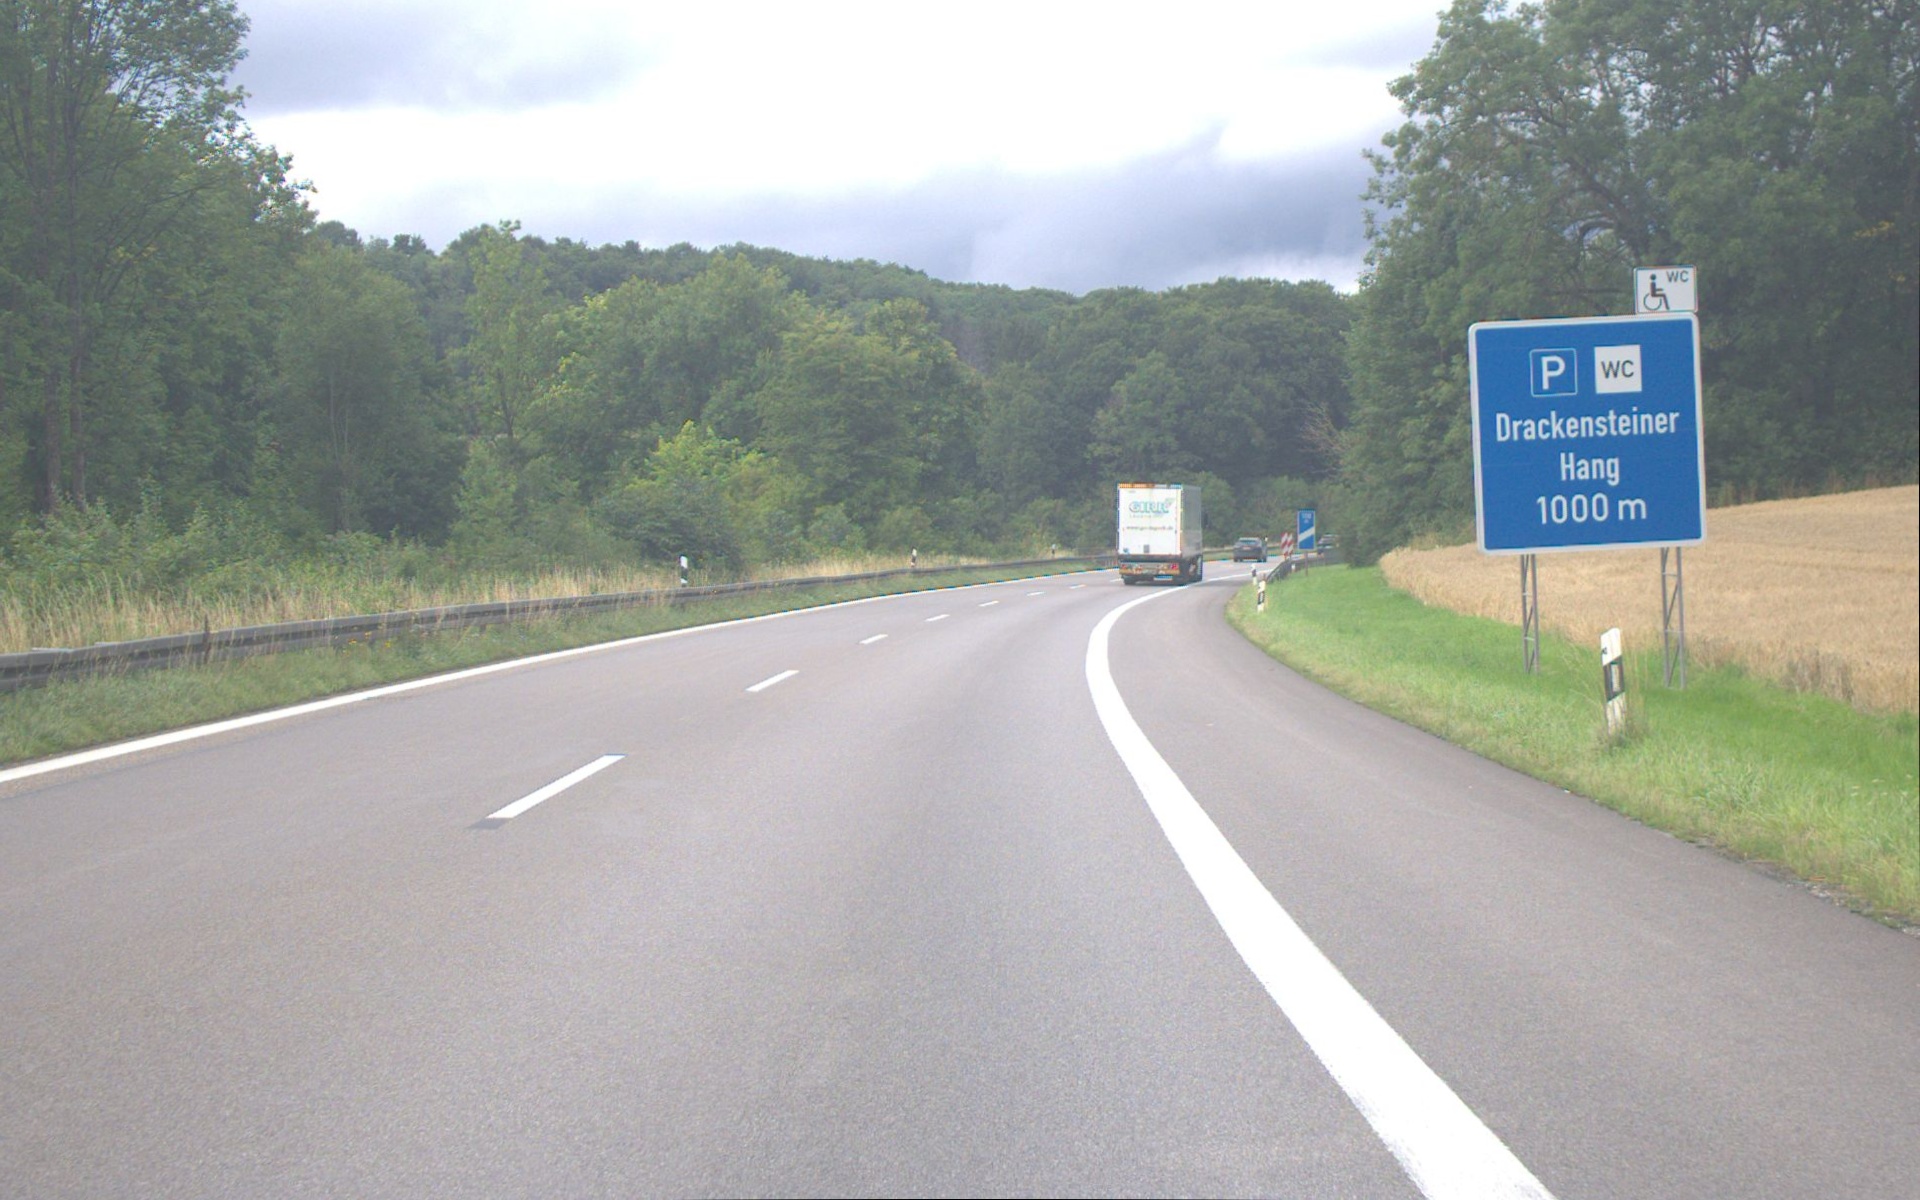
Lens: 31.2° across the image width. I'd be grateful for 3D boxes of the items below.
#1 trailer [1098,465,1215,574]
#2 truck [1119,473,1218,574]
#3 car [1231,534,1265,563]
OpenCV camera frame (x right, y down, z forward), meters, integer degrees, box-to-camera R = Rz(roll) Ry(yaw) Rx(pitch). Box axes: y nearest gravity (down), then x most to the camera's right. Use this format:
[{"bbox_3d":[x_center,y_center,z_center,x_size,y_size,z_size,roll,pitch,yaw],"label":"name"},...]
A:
[{"bbox_3d":[8.099,-3.176,139.833,3.806,4.160,14.804,1,0,7],"label":"trailer"},{"bbox_3d":[9.015,-3.239,147.582,3.788,4.118,8.262,1,0,6],"label":"truck"},{"bbox_3d":[18.933,-3.383,225.603,1.903,1.789,3.998,1,0,9],"label":"car"}]
